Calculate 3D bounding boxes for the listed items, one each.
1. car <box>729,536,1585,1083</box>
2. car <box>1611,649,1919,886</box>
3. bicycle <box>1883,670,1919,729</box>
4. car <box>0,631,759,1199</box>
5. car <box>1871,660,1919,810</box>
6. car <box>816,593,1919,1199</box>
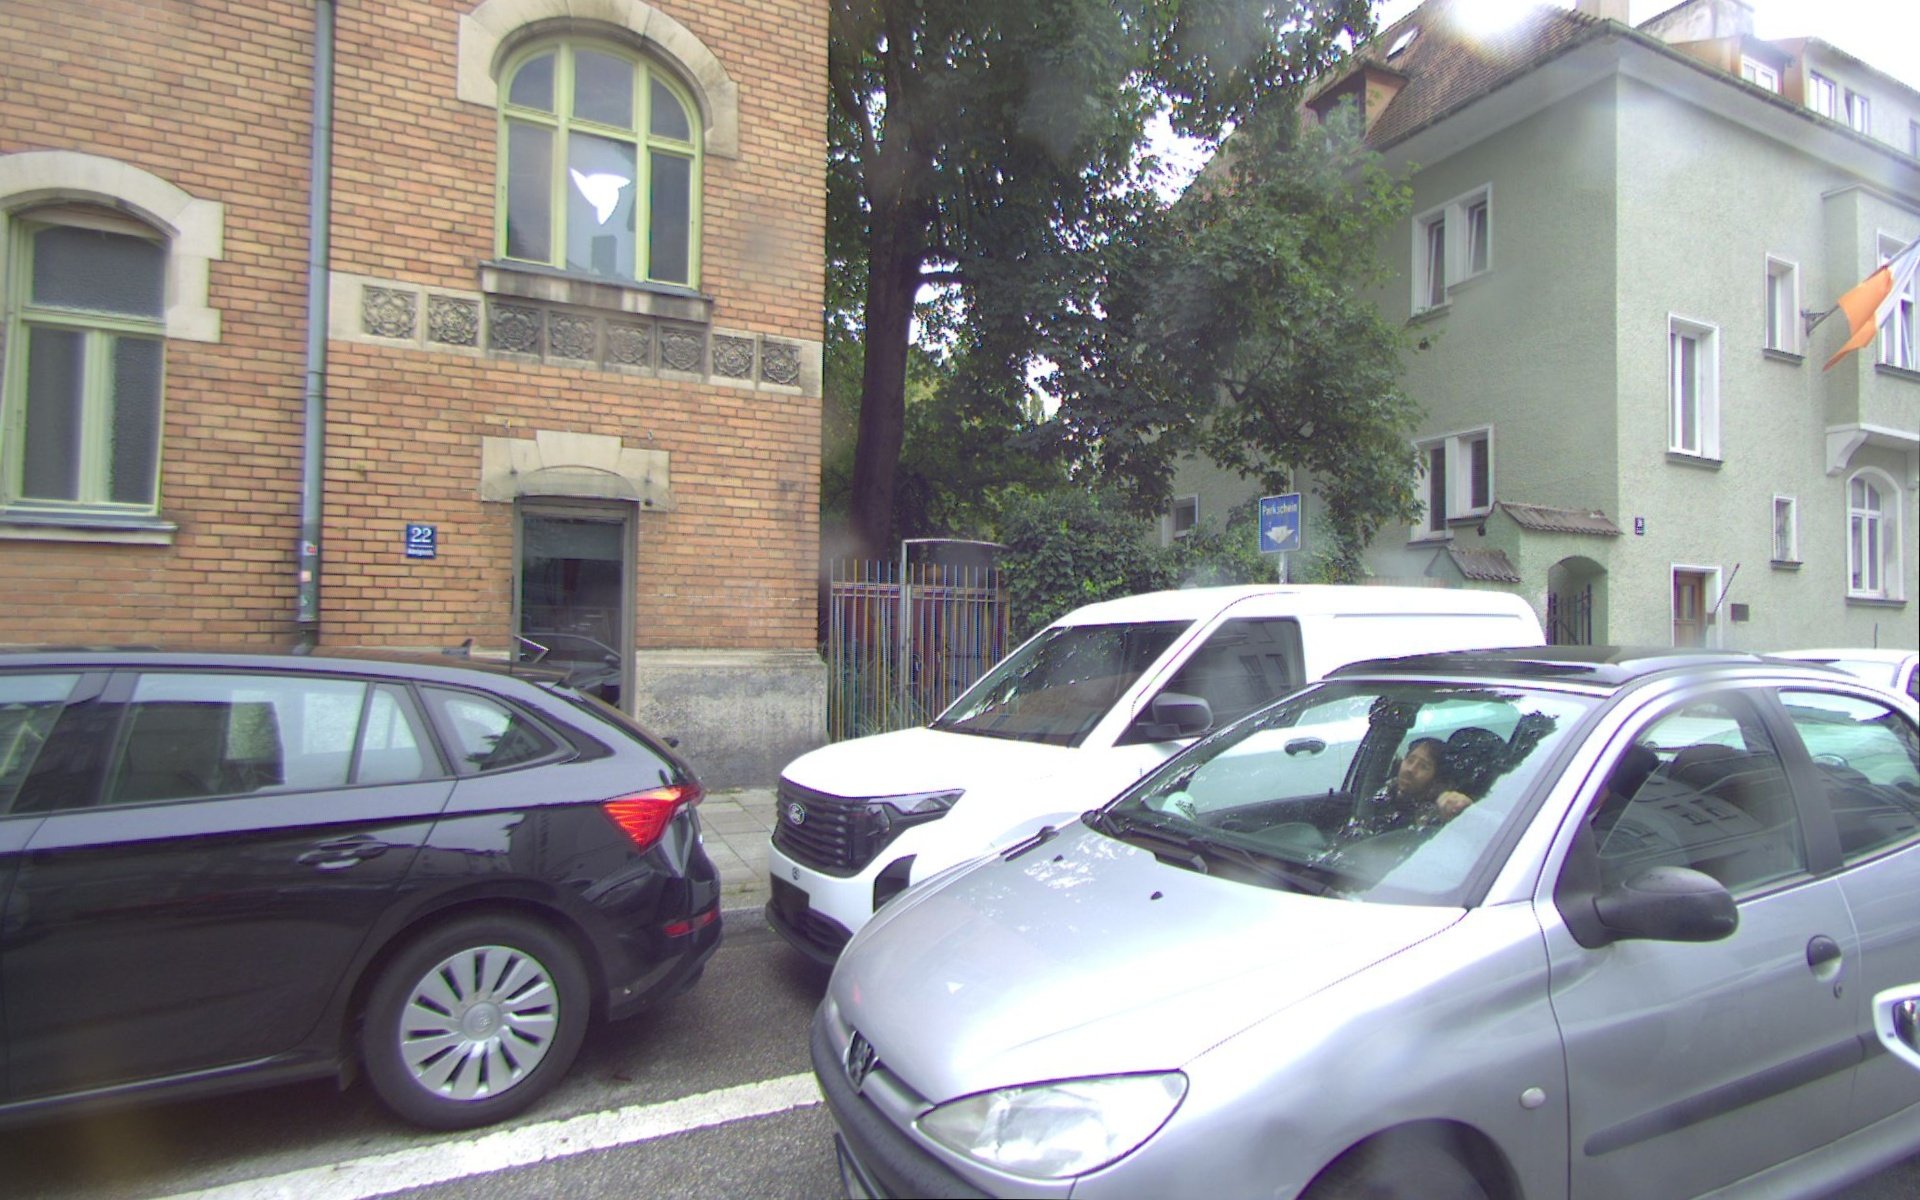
[{"bbox_3d":[1.073,0.789,5.090,4.092,1.827,1.684,1,-3,-28],"label":"car"},{"bbox_3d":[6.742,1.128,7.740,3.272,1.485,1.468,2,-3,-28],"label":"car"},{"bbox_3d":[16.559,1.690,17.205,1.906,0.919,0.520,1,1,-30],"label":"bicycle"},{"bbox_3d":[-2.869,0.850,3.204,4.091,1.461,1.685,1,-3,-26],"label":"car"},{"bbox_3d":[11.333,1.337,10.100,4.279,1.431,1.854,2,-4,-28],"label":"car"},{"bbox_3d":[1.552,0.792,2.831,3.564,1.429,1.576,2,-3,-26],"label":"car"}]
